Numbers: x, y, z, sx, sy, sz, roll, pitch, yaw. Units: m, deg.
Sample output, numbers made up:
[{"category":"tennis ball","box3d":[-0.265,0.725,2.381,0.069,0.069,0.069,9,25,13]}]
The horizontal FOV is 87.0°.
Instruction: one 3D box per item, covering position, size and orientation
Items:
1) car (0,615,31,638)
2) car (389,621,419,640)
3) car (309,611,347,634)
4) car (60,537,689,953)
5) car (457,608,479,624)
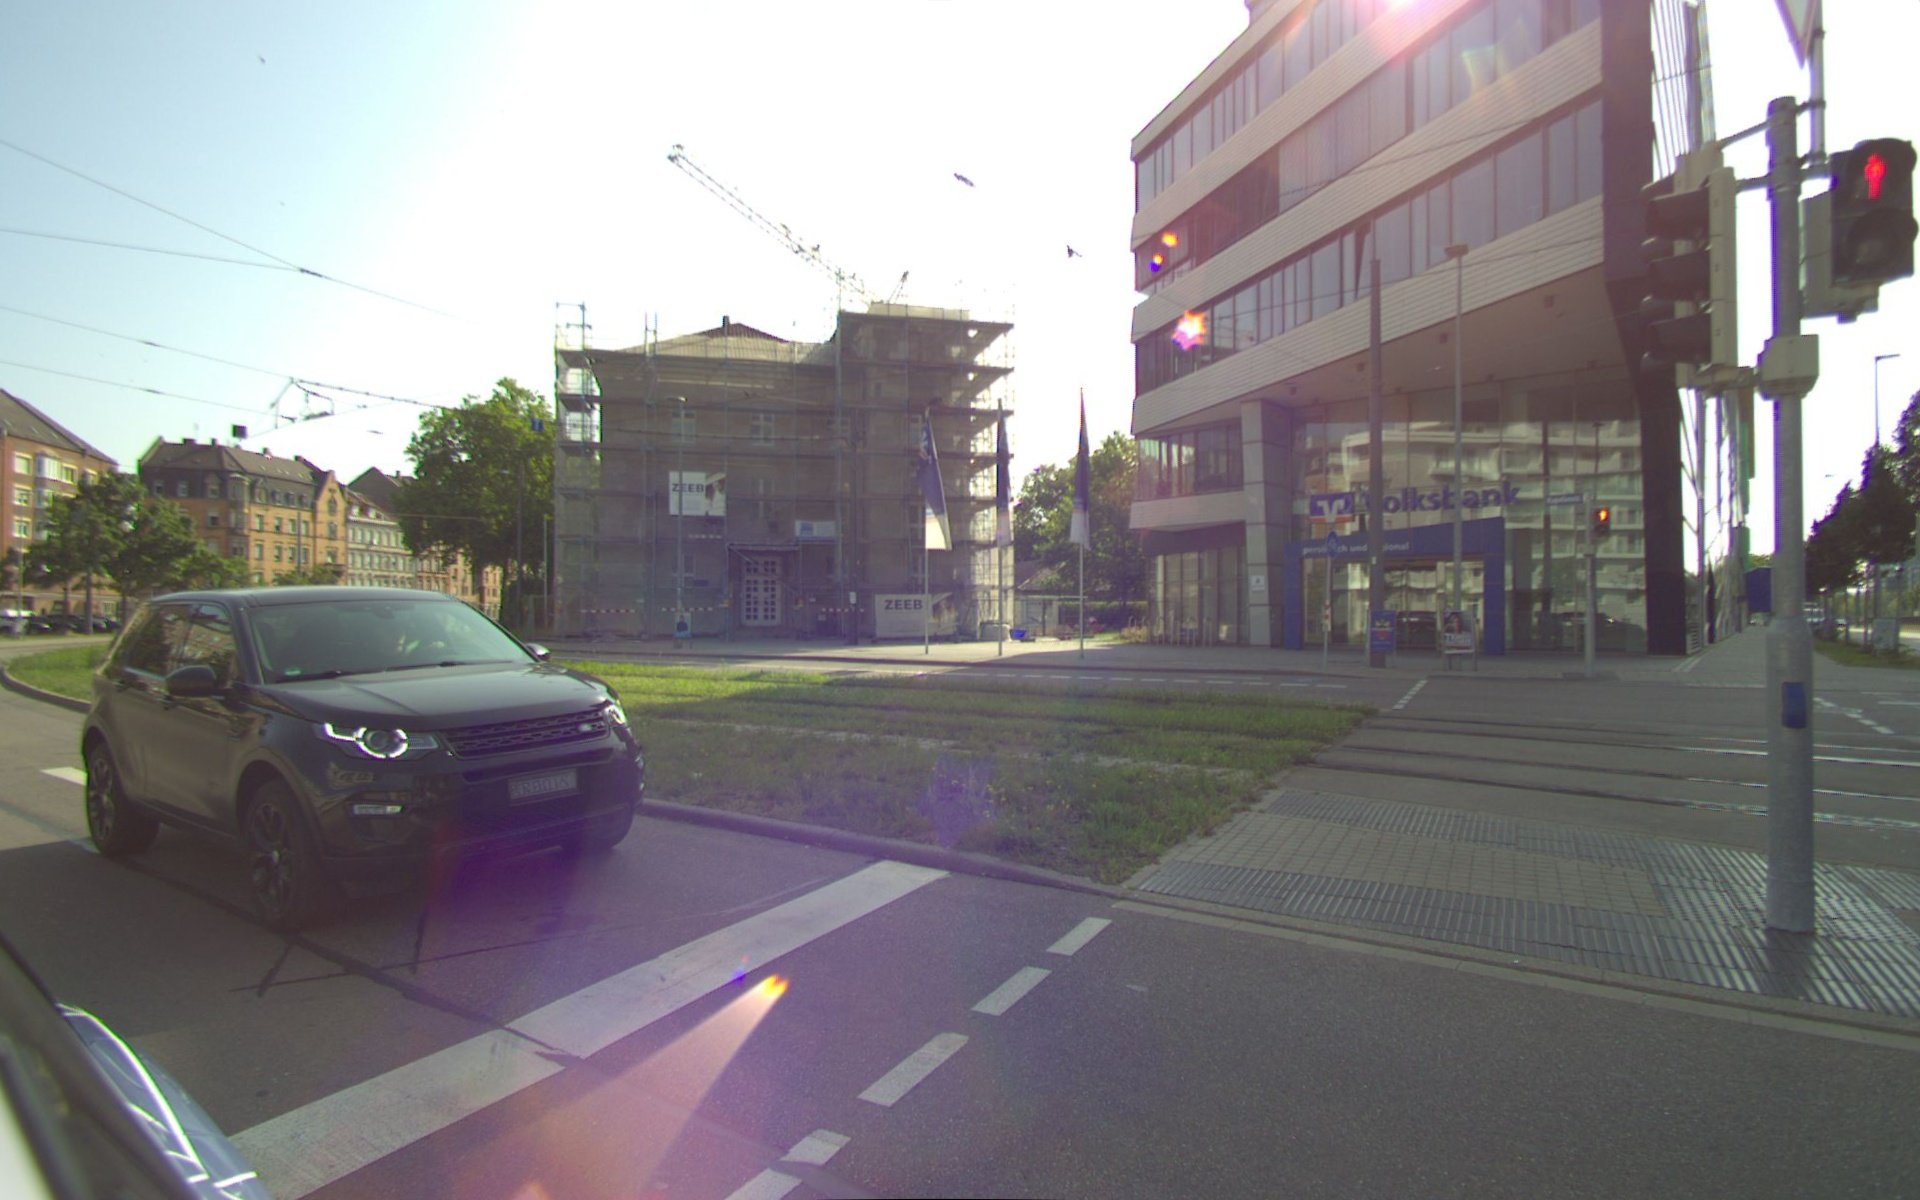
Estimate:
[{"category":"car","box3d":[-74.413,2.052,79.014,1.310,1.745,2.788,0,-1,-6]},{"category":"car","box3d":[-60.807,3.280,110.799,1.966,2.029,4.011,0,-1,-15]},{"category":"car","box3d":[-57.192,2.015,91.601,1.966,2.029,4.012,-1,0,-18]},{"category":"car","box3d":[-3.706,0.643,6.120,4.214,1.690,1.780,-1,-2,37]},{"category":"car","box3d":[-62.741,2.050,129.228,1.966,1.993,4.012,-1,0,-18]}]
